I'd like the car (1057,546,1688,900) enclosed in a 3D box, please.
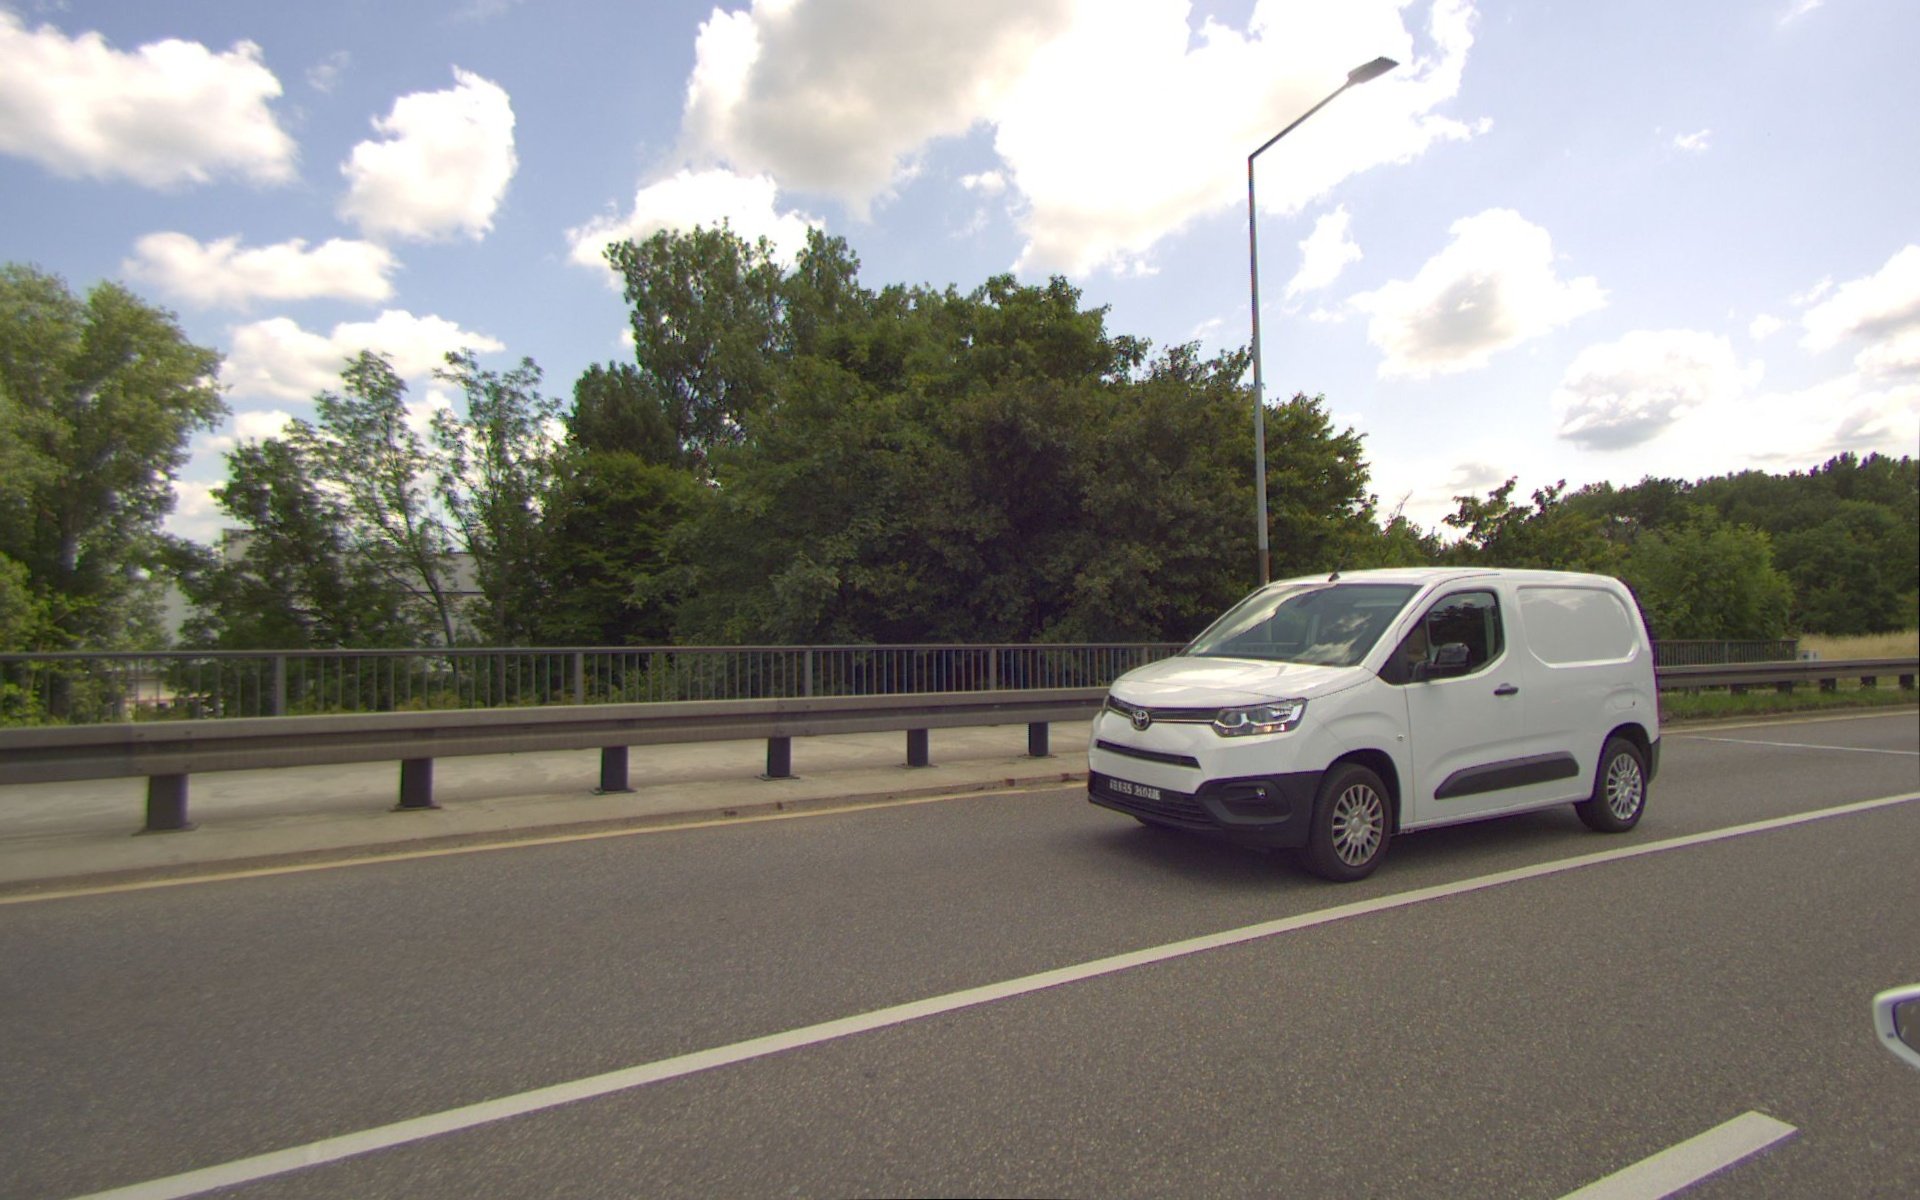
[{"bbox_3d":[2.919,0.661,6.906,4.254,1.777,1.805,1,-1,-30],"label":"car"}]
